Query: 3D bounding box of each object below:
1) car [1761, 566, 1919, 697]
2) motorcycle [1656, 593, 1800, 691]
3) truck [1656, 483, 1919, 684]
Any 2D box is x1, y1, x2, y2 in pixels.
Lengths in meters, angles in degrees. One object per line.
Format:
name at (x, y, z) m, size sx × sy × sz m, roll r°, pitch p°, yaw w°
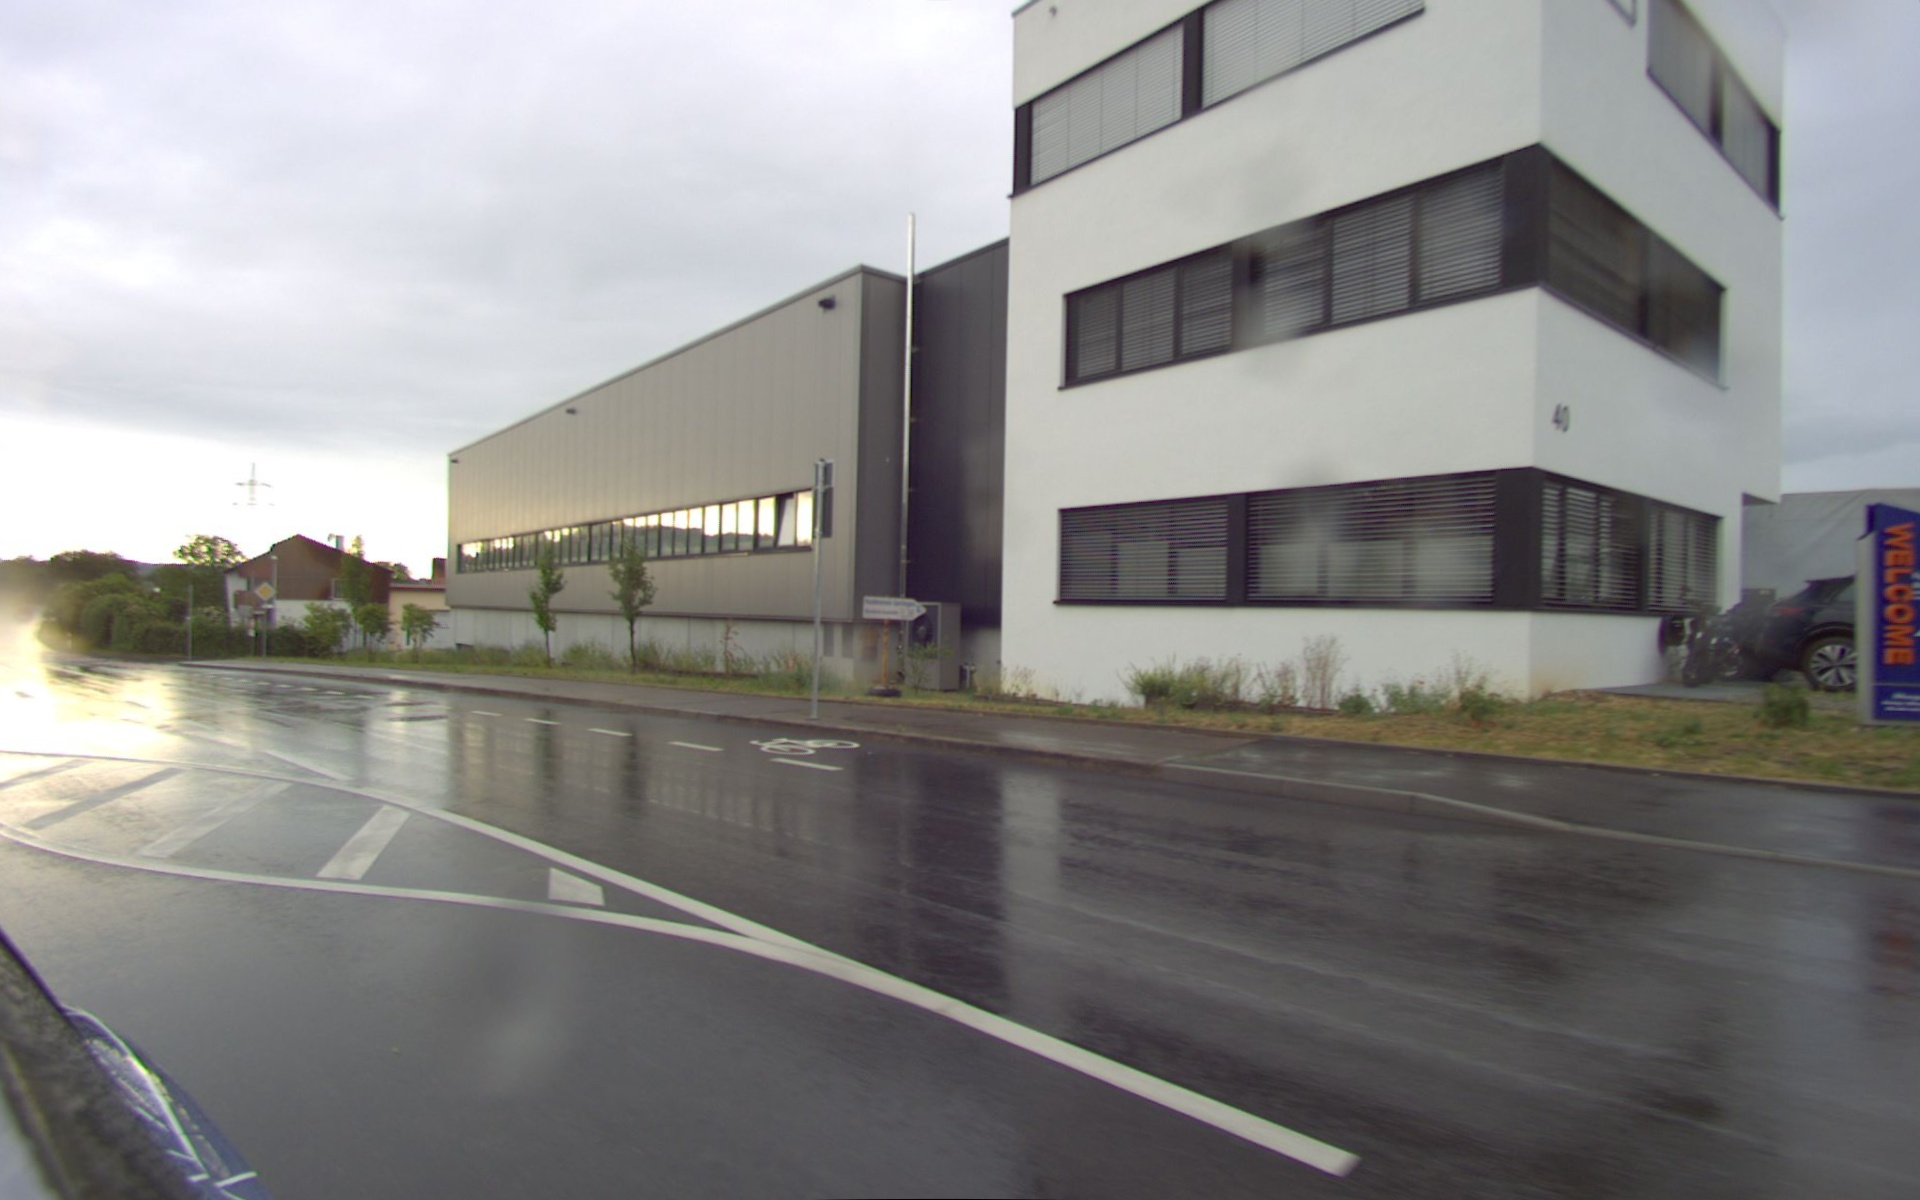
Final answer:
car at (12.939, 0.371, 12.438) m, size 1.830 × 1.608 × 4.610 m, roll 0°, pitch -1°, yaw -43°
motorcycle at (11.014, 0.537, 14.431) m, size 3.638 × 1.253 × 0.779 m, roll 0°, pitch -1°, yaw -39°
truck at (17.984, -0.292, 19.256) m, size 2.636 × 3.603 × 7.349 m, roll 0°, pitch -1°, yaw -39°
